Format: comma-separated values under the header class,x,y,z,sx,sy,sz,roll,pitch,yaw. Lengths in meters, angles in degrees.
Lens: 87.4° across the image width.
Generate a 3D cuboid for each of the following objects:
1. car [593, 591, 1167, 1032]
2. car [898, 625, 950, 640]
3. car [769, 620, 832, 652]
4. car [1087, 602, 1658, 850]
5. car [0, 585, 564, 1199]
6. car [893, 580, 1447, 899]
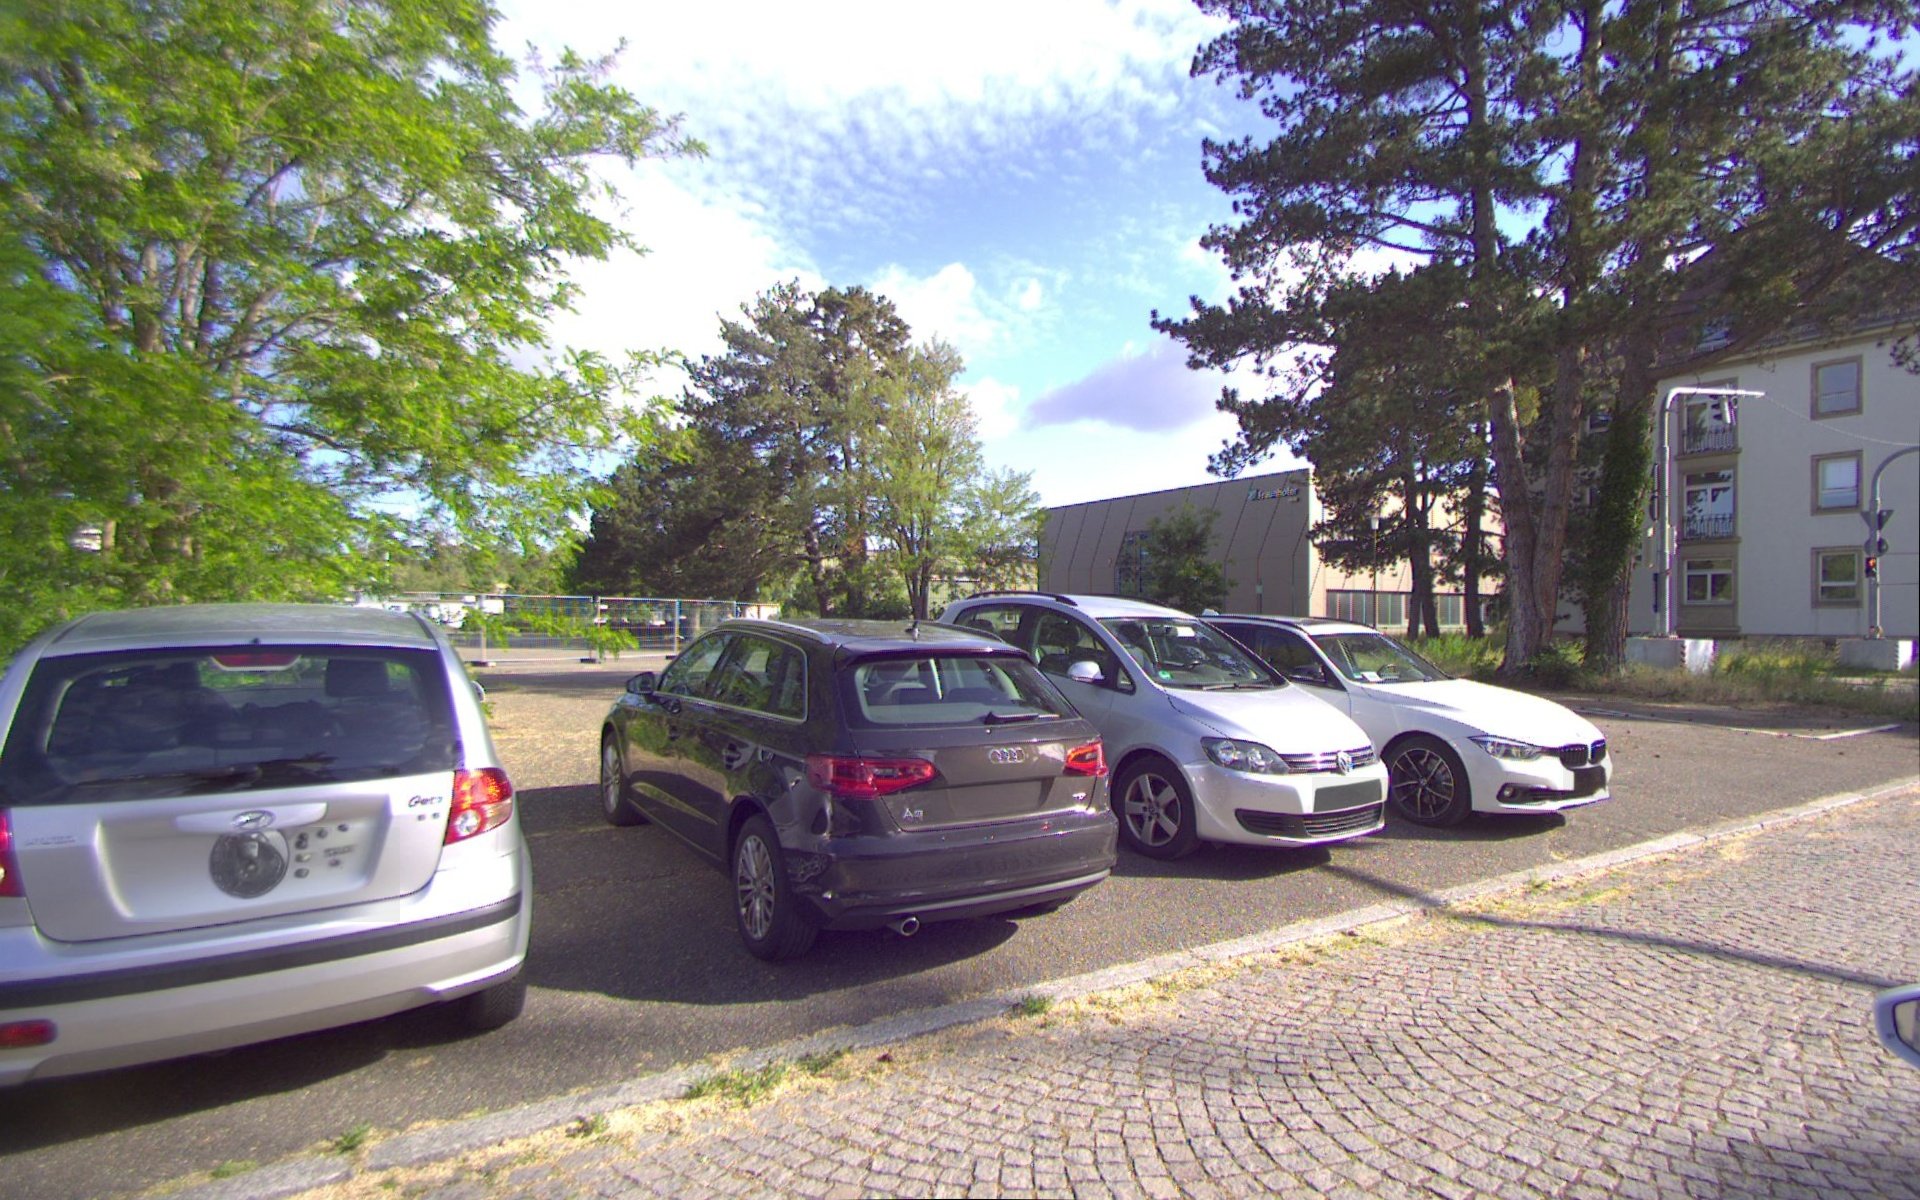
class,x,y,z,sx,sy,sz,roll,pitch,yaw
car,-0.787,0.770,5.697,1.669,1.491,3.775,1,2,-32
car,-2.645,2.395,74.508,3.634,1.090,1.399,1,-1,-29
car,-7.305,1.617,45.886,1.726,1.388,3.595,1,-1,-29
car,3.287,0.841,8.981,1.734,1.487,4.512,0,2,-33
car,-2.910,0.747,4.241,1.619,1.491,3.443,1,2,-33
car,1.264,0.735,7.512,1.705,1.648,3.917,1,2,-35
